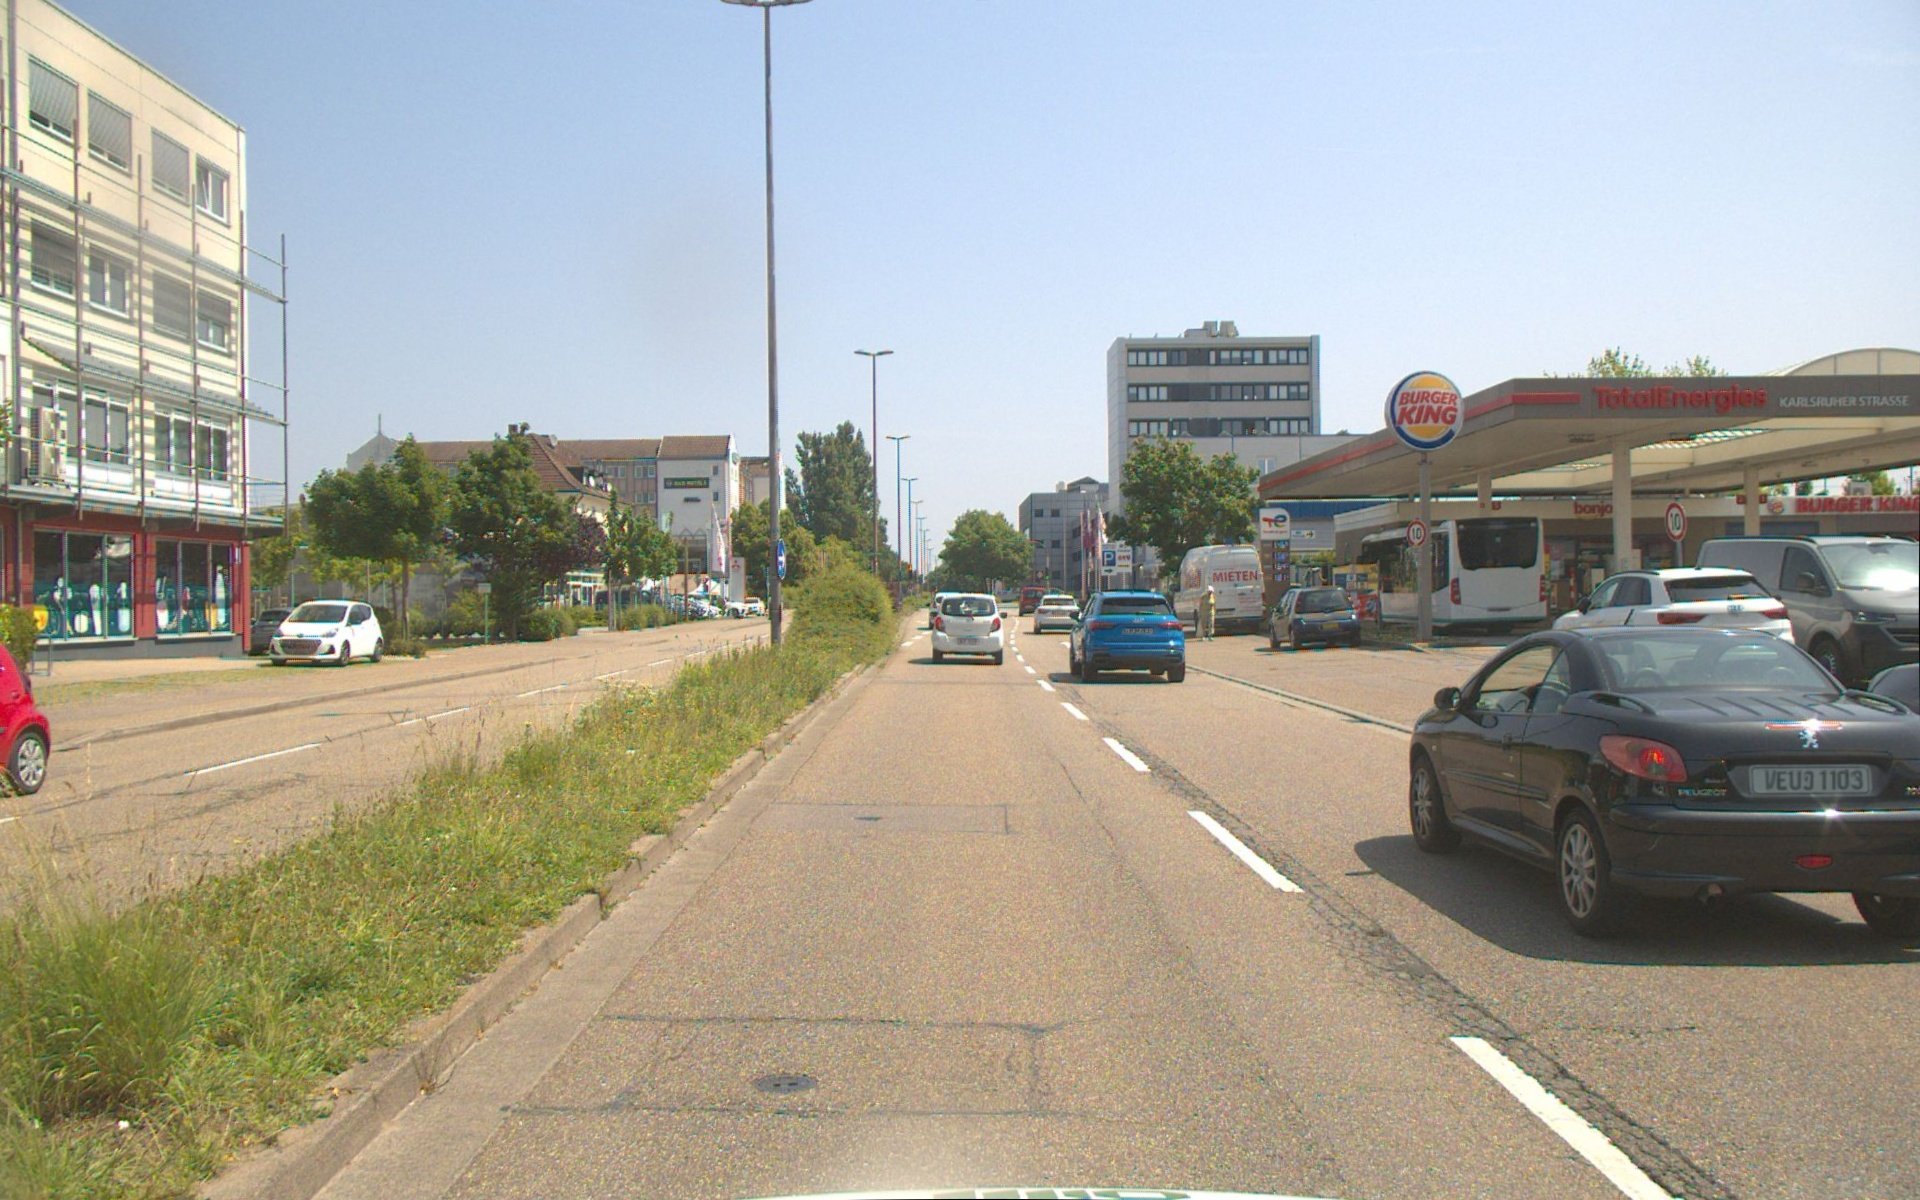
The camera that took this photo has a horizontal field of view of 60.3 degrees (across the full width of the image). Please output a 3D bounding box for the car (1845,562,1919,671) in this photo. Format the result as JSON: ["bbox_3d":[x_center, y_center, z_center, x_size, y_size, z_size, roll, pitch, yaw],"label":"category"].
[{"bbox_3d":[14.373,0.241,22.891,1.708,1.540,4.599,1,0,-1],"label":"car"}]

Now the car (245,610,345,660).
[{"bbox_3d":[-22.213,1.184,55.424,1.733,1.574,3.999,-1,-2,0],"label":"car"}]

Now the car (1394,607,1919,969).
[{"bbox_3d":[3.559,0.773,8.591,1.567,1.450,3.660,-1,0,-1],"label":"car"}]

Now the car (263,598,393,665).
[{"bbox_3d":[-15.058,0.769,39.613,1.645,1.521,4.041,0,-1,-2],"label":"car"}]

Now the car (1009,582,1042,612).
[{"bbox_3d":[4.109,-0.157,104.211,1.759,1.759,3.970,0,-1,-3],"label":"car"}]

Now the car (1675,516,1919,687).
[{"bbox_3d":[11.879,0.041,22.504,1.953,2.058,5.158,1,0,-2],"label":"car"}]

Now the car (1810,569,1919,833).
[{"bbox_3d":[6.688,0.603,8.972,1.699,1.579,4.175,0,0,-6],"label":"car"}]

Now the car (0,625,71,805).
[{"bbox_3d":[-8.553,0.953,12.667,1.597,1.449,3.450,-2,-1,0],"label":"car"}]

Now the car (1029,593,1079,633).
[{"bbox_3d":[3.447,0.459,61.472,1.633,1.424,3.793,0,0,0],"label":"car"}]

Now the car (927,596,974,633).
[{"bbox_3d":[-0.345,0.612,67.402,1.792,1.475,4.000,0,-1,1],"label":"car"}]

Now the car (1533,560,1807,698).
[{"bbox_3d":[9.487,0.343,22.546,1.633,1.624,4.612,-2,0,-1],"label":"car"}]

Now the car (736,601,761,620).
[{"bbox_3d":[-16.747,0.856,130.974,1.865,1.378,3.994,0,-2,-6],"label":"car"}]

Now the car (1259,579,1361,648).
[{"bbox_3d":[8.608,0.319,40.933,1.623,1.545,3.819,-2,0,-1],"label":"car"}]

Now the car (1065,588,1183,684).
[{"bbox_3d":[2.946,0.605,30.512,1.873,1.625,4.396,0,0,2],"label":"car"}]

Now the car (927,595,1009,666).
[{"bbox_3d":[0.139,0.676,37.487,1.678,1.537,3.245,0,-1,-3],"label":"car"}]

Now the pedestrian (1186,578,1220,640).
[{"bbox_3d":[7.200,0.281,48.972,0.798,1.779,0.703,3,-1,-1],"label":"pedestrian"}]

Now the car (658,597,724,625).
[{"bbox_3d":[-17.110,0.682,105.441,3.907,1.713,1.998,0,-2,-3],"label":"car"}]

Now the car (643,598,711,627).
[{"bbox_3d":[-17.489,0.775,102.446,3.907,1.759,1.935,0,-2,-3],"label":"car"}]

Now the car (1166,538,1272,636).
[{"bbox_3d":[8.376,-0.398,54.177,2.090,2.889,7.307,-3,0,-1],"label":"car"}]

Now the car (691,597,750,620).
[{"bbox_3d":[-17.193,0.597,118.750,3.904,1.579,1.865,0,-2,2],"label":"car"}]

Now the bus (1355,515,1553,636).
[{"bbox_3d":[14.316,-0.741,49.188,2.746,3.132,12.290,0,1,3],"label":"bus"}]
